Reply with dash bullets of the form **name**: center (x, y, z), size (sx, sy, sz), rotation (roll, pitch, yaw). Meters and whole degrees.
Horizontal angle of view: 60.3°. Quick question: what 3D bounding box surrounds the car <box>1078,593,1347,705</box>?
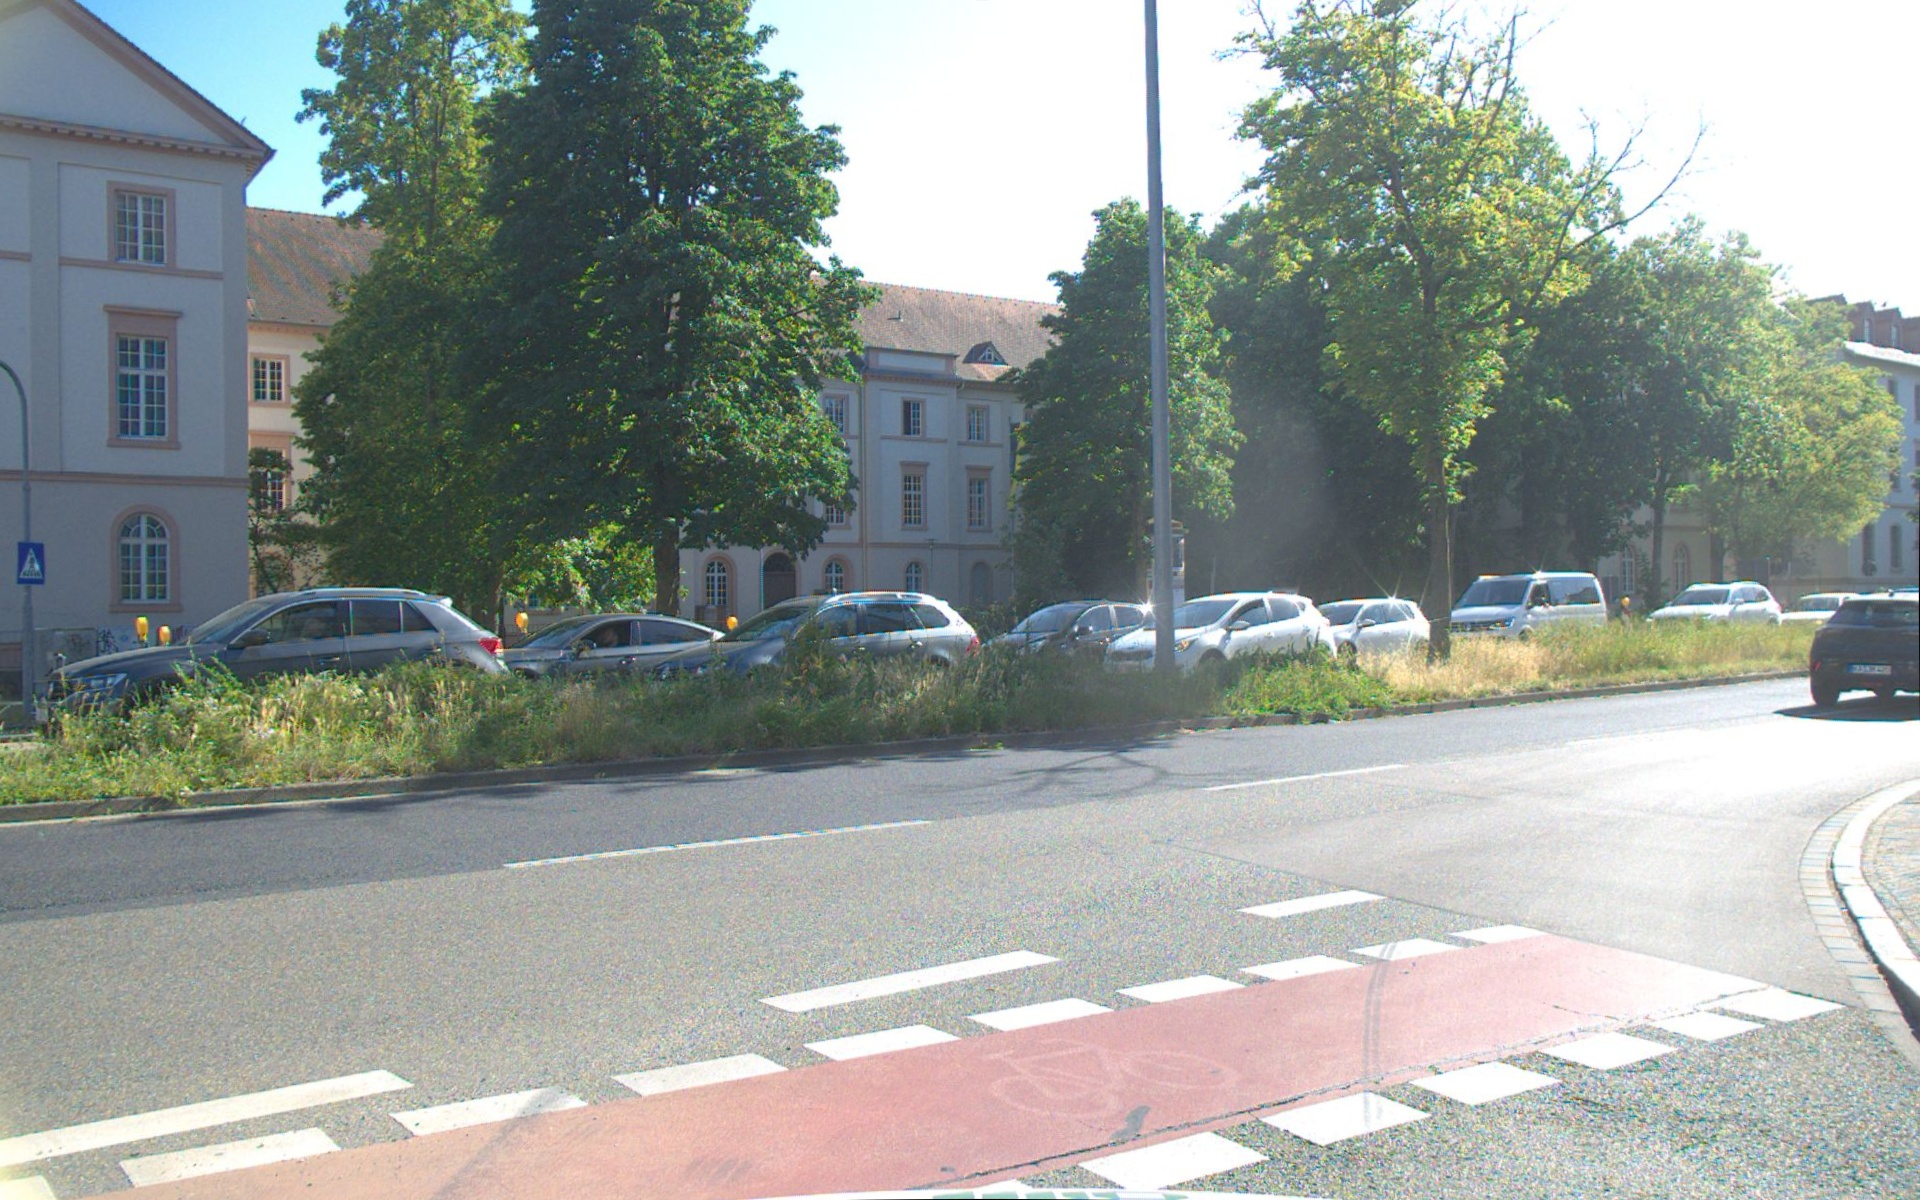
- **car**: center (3.866, 0.686, 24.967), size (4.168, 1.545, 1.774), rotation (0, -1, -42)

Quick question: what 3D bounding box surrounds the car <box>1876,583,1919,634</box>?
- **car**: center (30.865, 0.259, 52.486), size (4.406, 1.545, 1.774), rotation (0, -1, -42)

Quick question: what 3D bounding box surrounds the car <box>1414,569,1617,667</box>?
- **car**: center (12.638, 0.386, 37.490), size (4.973, 2.063, 2.207), rotation (0, -1, -42)

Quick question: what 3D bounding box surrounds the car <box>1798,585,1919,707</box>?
- **car**: center (13.392, 0.580, 23.148), size (1.869, 1.545, 3.972), rotation (1, 1, 45)

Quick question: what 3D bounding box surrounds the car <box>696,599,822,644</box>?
- **car**: center (-7.648, 0.839, 63.193), size (4.642, 1.518, 1.623), rotation (4, -2, -41)

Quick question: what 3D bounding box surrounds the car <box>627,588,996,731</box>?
- **car**: center (-1.728, 0.637, 20.201), size (4.325, 1.545, 1.774), rotation (-1, 1, -42)

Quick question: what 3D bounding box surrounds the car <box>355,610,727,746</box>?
- **car**: center (-5.273, 0.911, 21.154), size (4.309, 1.545, 1.774), rotation (0, 0, -42)

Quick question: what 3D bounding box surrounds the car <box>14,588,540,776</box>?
- **car**: center (-6.369, 0.680, 15.721), size (4.309, 1.545, 1.774), rotation (0, 0, -42)

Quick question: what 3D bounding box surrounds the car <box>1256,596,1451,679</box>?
- **car**: center (7.857, 0.700, 32.864), size (4.044, 1.545, 1.774), rotation (0, -1, -42)

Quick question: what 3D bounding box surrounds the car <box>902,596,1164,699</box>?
- **car**: center (1.263, 0.726, 27.128), size (4.309, 1.545, 1.774), rotation (0, 0, -42)

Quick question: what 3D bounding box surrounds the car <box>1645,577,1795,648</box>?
- **car**: center (20.165, 0.314, 43.783), size (4.988, 1.774, 1.774), rotation (0, -1, -42)

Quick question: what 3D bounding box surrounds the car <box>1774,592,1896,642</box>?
- **car**: center (25.534, 0.479, 48.214), size (4.221, 1.375, 1.774), rotation (0, 0, -42)
